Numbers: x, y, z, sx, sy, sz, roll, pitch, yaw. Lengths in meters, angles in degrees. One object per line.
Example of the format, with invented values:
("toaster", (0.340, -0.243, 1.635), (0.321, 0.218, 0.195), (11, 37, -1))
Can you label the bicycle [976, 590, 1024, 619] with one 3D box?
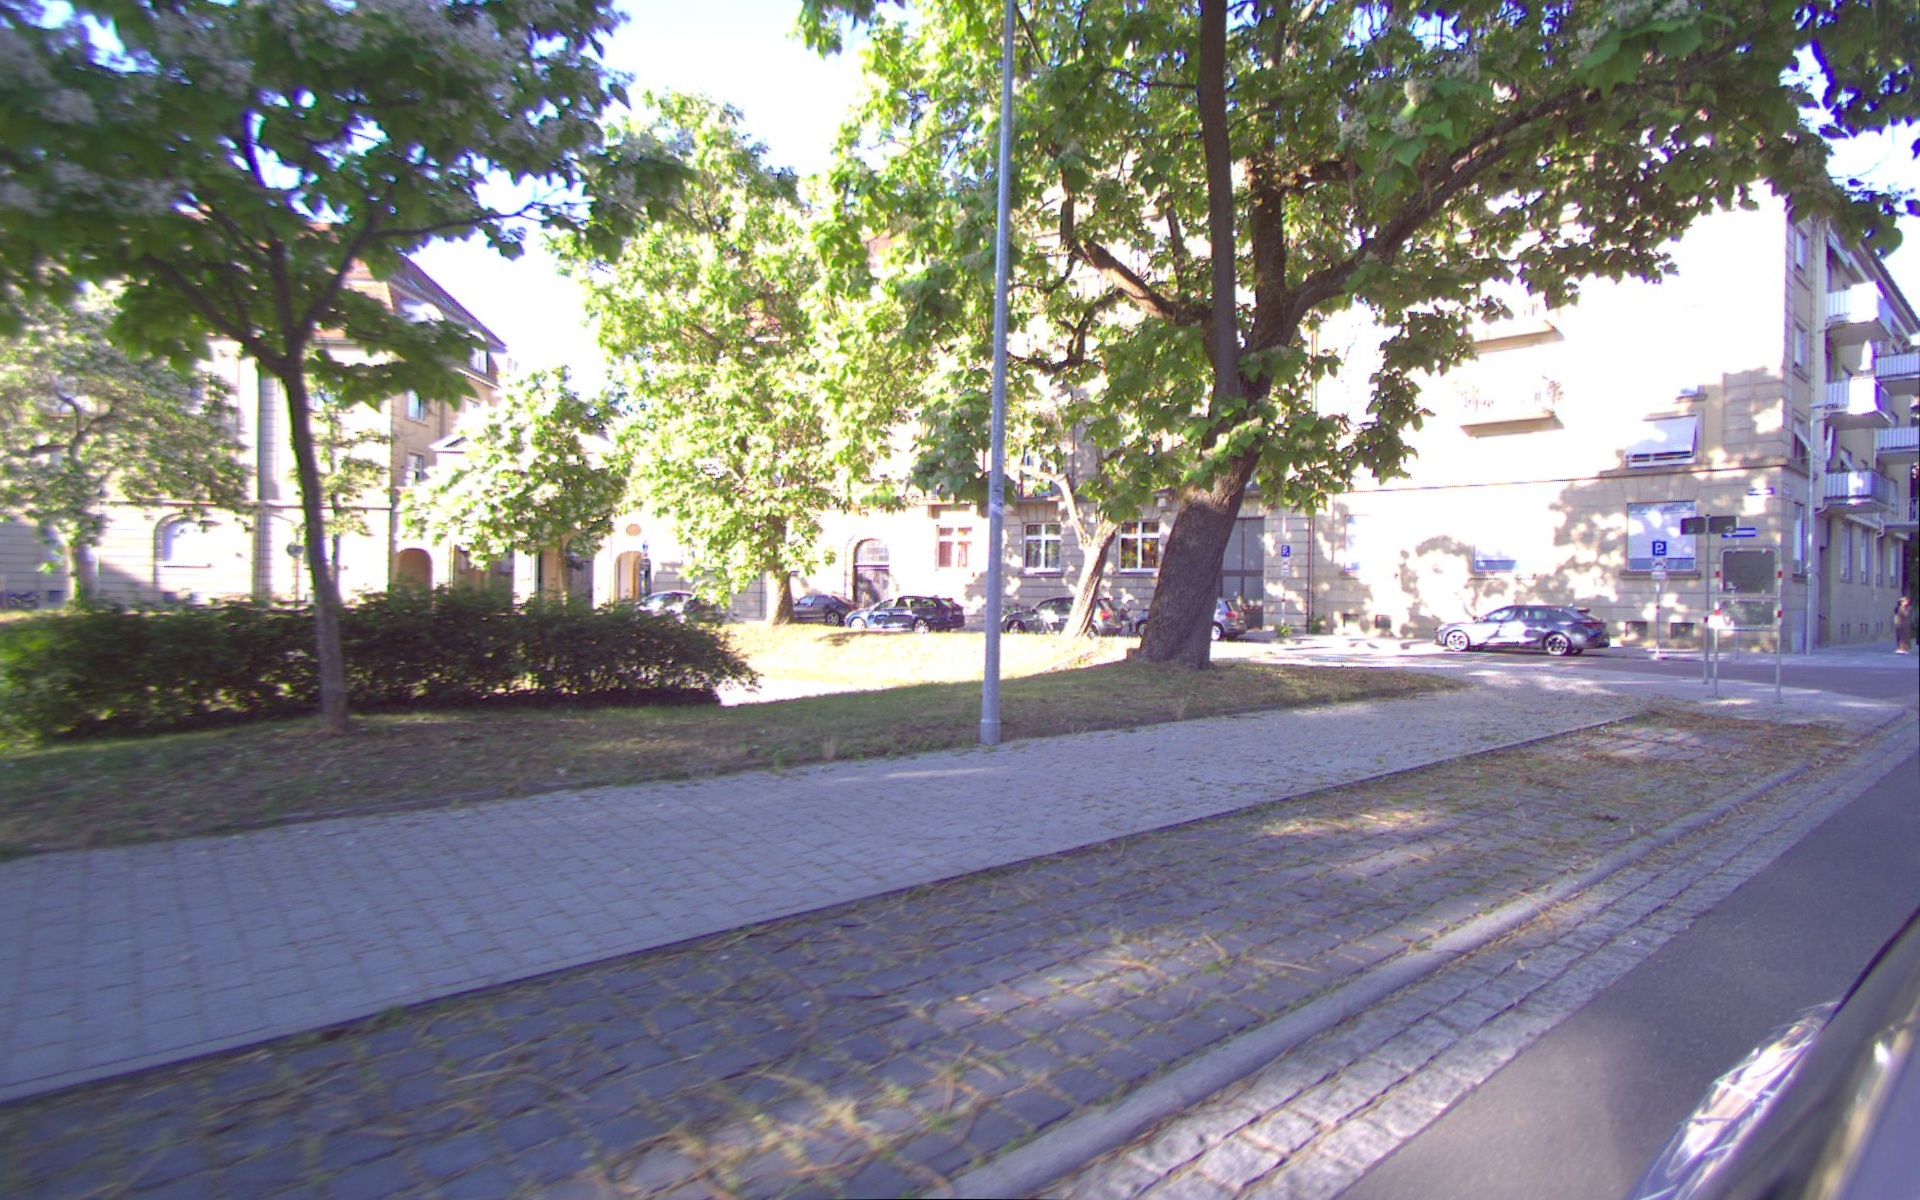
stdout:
("bicycle", (1.779, 0.205, 45.514), (2.102, 1.245, 0.609), (1, 1, 26))

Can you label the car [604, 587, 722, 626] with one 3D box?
("car", (-11.876, 0.243, 40.491), (4.317, 1.435, 1.808), (1, 1, 20))

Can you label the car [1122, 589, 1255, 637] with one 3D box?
("car", (8.307, 0.428, 36.902), (4.420, 1.620, 1.782), (1, 1, 32))

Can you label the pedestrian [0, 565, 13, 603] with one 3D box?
("pedestrian", (-37.968, -0.624, 39.826), (0.933, 1.493, 0.682), (0, 1, -38))

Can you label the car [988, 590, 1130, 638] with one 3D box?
("car", (3.240, 0.422, 33.303), (4.330, 1.435, 1.826), (1, 1, 30))

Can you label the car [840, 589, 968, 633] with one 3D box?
("car", (-2.019, 0.345, 36.215), (4.395, 1.435, 1.552), (1, 1, 27))

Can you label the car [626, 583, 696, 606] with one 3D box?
("car", (-20.261, -0.381, 68.781), (4.283, 1.435, 1.822), (1, 1, -5))

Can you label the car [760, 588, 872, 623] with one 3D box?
("car", (-6.379, 0.225, 44.857), (4.590, 1.435, 1.809), (1, 1, 19))

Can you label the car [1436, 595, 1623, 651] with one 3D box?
("car", (16.633, 0.623, 29.686), (1.904, 1.436, 4.441), (0, 1, -45))

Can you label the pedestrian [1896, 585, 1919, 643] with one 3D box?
("pedestrian", (30.626, 0.453, 32.420), (0.721, 1.854, 0.554), (0, -1, 14))

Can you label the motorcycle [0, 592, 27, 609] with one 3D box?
("motorcycle", (-37.996, 0.024, 39.811), (1.825, 0.679, 0.682), (0, 1, -38))
